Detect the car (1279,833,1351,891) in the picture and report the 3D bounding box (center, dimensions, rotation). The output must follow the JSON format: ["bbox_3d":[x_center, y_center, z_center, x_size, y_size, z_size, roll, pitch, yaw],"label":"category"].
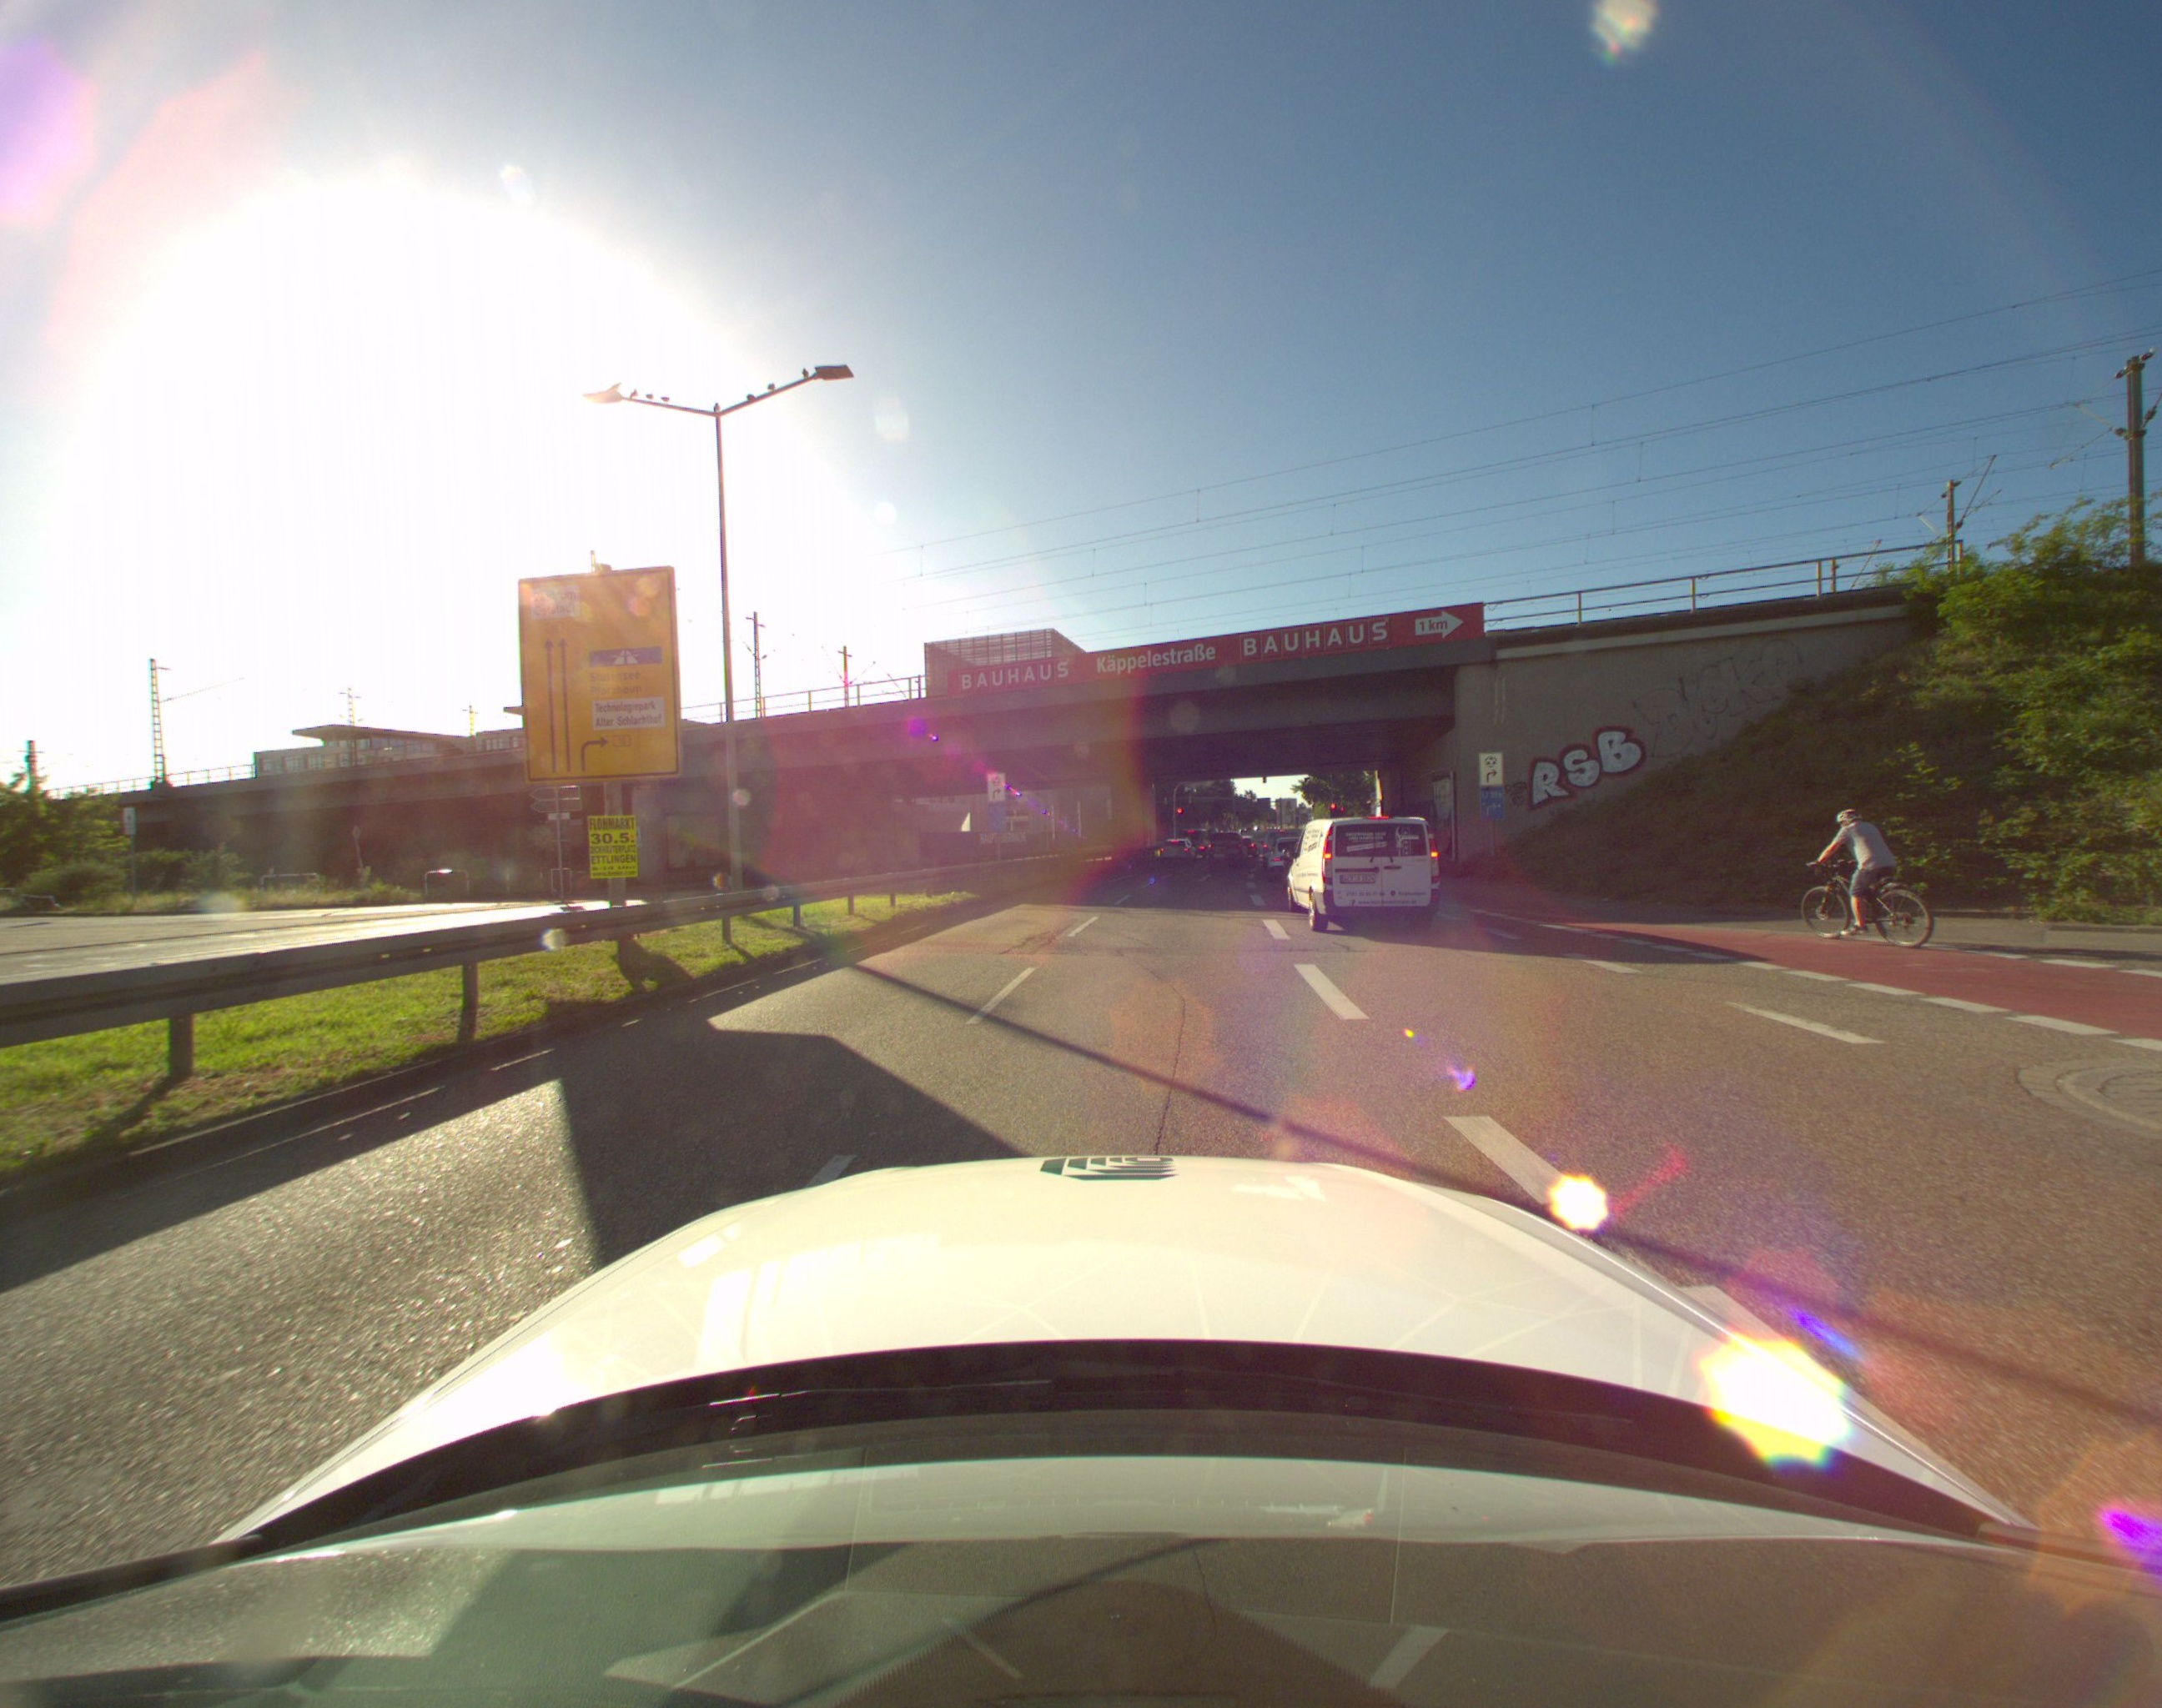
[{"bbox_3d":[6.351,0.170,22.381,1.594,1.434,3.690,-1,2,11],"label":"car"}]

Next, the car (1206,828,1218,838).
[{"bbox_3d":[25.432,-4.036,157.778,1.772,1.863,3.962,-4,0,16],"label":"car"}]

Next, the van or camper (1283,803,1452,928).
[{"bbox_3d":[4.983,0.143,14.895,1.947,1.883,4.891,-1,1,8],"label":"van or camper"}]

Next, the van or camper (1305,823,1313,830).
[{"bbox_3d":[64.388,-7.793,229.948,1.770,1.863,3.930,-4,0,22],"label":"van or camper"}]

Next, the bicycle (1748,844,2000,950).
[{"bbox_3d":[9.829,0.463,10.284,0.741,1.112,2.451,-4,1,0],"label":"bicycle"}]

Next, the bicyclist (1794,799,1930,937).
[{"bbox_3d":[9.830,0.161,10.287,0.743,1.619,0.912,-4,0,0],"label":"bicyclist"}]

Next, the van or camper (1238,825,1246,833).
[{"bbox_3d":[42.524,-6.579,214.939,1.772,1.863,3.924,-4,0,14],"label":"van or camper"}]

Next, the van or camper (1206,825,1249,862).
[{"bbox_3d":[7.677,-0.552,42.331,1.740,1.813,3.976,-1,1,17],"label":"van or camper"}]

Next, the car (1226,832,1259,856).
[{"bbox_3d":[10.786,-0.693,54.244,1.750,1.475,4.308,-2,1,16],"label":"car"}]

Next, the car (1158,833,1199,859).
[{"bbox_3d":[5.733,-0.490,47.504,1.695,1.452,3.759,-1,1,16],"label":"car"}]

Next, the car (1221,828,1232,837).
[{"bbox_3d":[32.571,-4.906,182.284,1.772,1.863,3.926,-4,0,16],"label":"car"}]

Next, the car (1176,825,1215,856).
[{"bbox_3d":[7.719,-0.929,54.711,1.852,1.946,4.617,-1,1,17],"label":"car"}]

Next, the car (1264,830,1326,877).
[{"bbox_3d":[7.369,-0.053,28.307,1.752,1.475,4.302,-2,1,11],"label":"car"}]

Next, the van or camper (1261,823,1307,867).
[{"bbox_3d":[8.924,-0.422,36.067,1.813,1.791,4.561,-1,1,12],"label":"van or camper"}]
